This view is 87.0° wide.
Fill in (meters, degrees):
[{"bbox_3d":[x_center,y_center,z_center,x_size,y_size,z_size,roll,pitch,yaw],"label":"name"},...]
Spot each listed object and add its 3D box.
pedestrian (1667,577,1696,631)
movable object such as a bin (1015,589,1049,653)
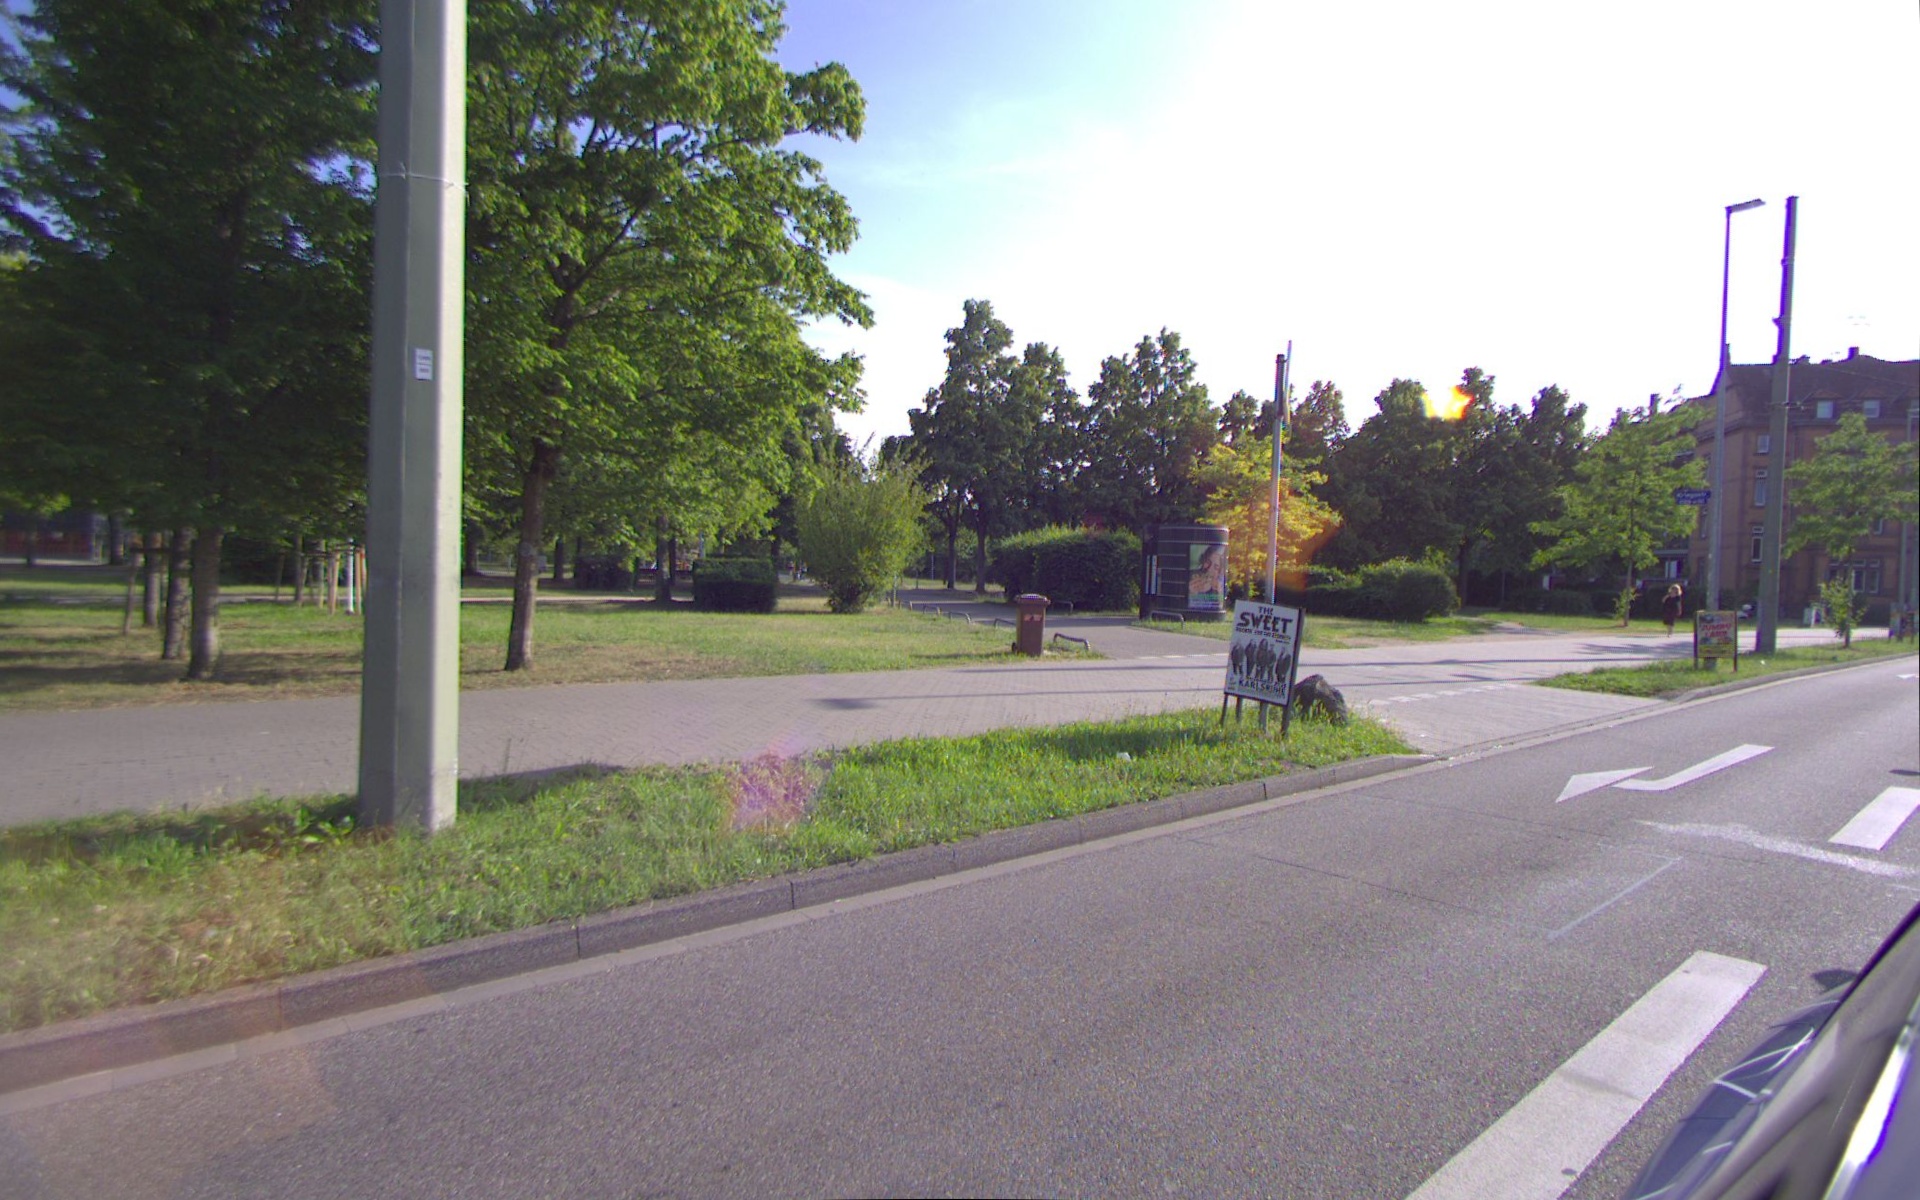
[{"bbox_3d":[23.216,0.123,32.556,0.607,1.706,0.621,1,0,-40],"label":"pedestrian"},{"bbox_3d":[1.095,0.304,15.426,0.447,0.929,0.605,2,2,1],"label":"movable object such as a bin"}]
